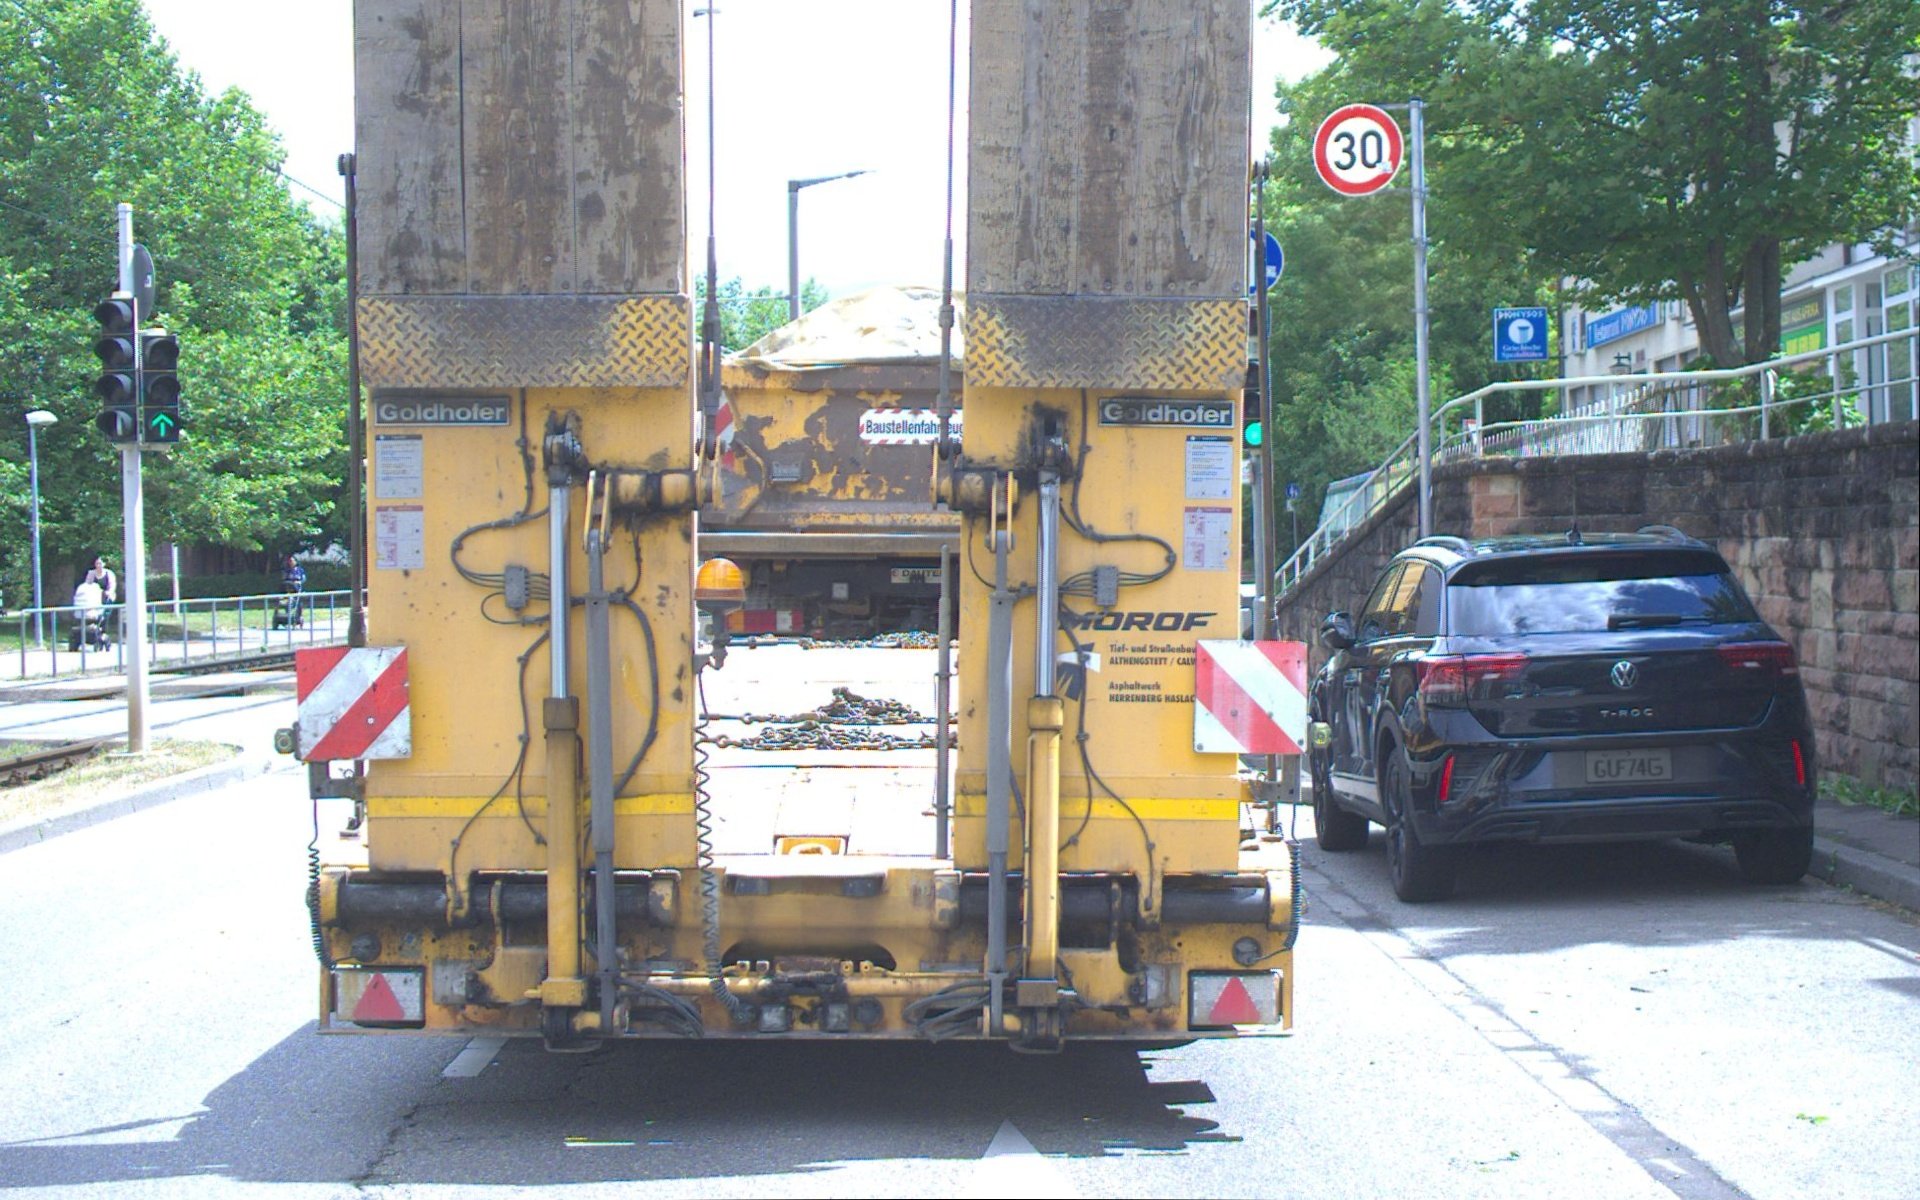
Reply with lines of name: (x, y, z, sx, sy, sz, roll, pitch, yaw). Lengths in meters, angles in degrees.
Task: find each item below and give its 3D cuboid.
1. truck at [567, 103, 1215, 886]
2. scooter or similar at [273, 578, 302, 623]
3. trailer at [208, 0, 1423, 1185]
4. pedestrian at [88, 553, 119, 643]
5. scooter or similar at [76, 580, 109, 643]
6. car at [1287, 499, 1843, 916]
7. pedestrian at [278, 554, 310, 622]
truck: (-0.303, -0.520, 18.225, 2.942, 3.560, 4.877, -1, 1, 0)
scooter or similar: (-14.764, 0.002, 75.528, 0.505, 0.968, 0.646, 1, 1, -1)
trailer: (-0.331, -0.441, 12.764, 2.945, 3.589, 8.684, -1, 1, 0)
pedestrian: (-14.754, -0.034, 59.258, 0.348, 1.531, 0.557, -1, 1, 3)
scooter or similar: (-14.794, 0.199, 58.631, 0.338, 1.054, 0.687, -1, 1, 2)
car: (2.658, 0.411, 16.016, 1.851, 1.633, 4.000, -2, 1, 0)
pedestrian: (-14.751, -0.270, 76.177, 0.563, 1.508, 0.646, 1, 1, -1)
